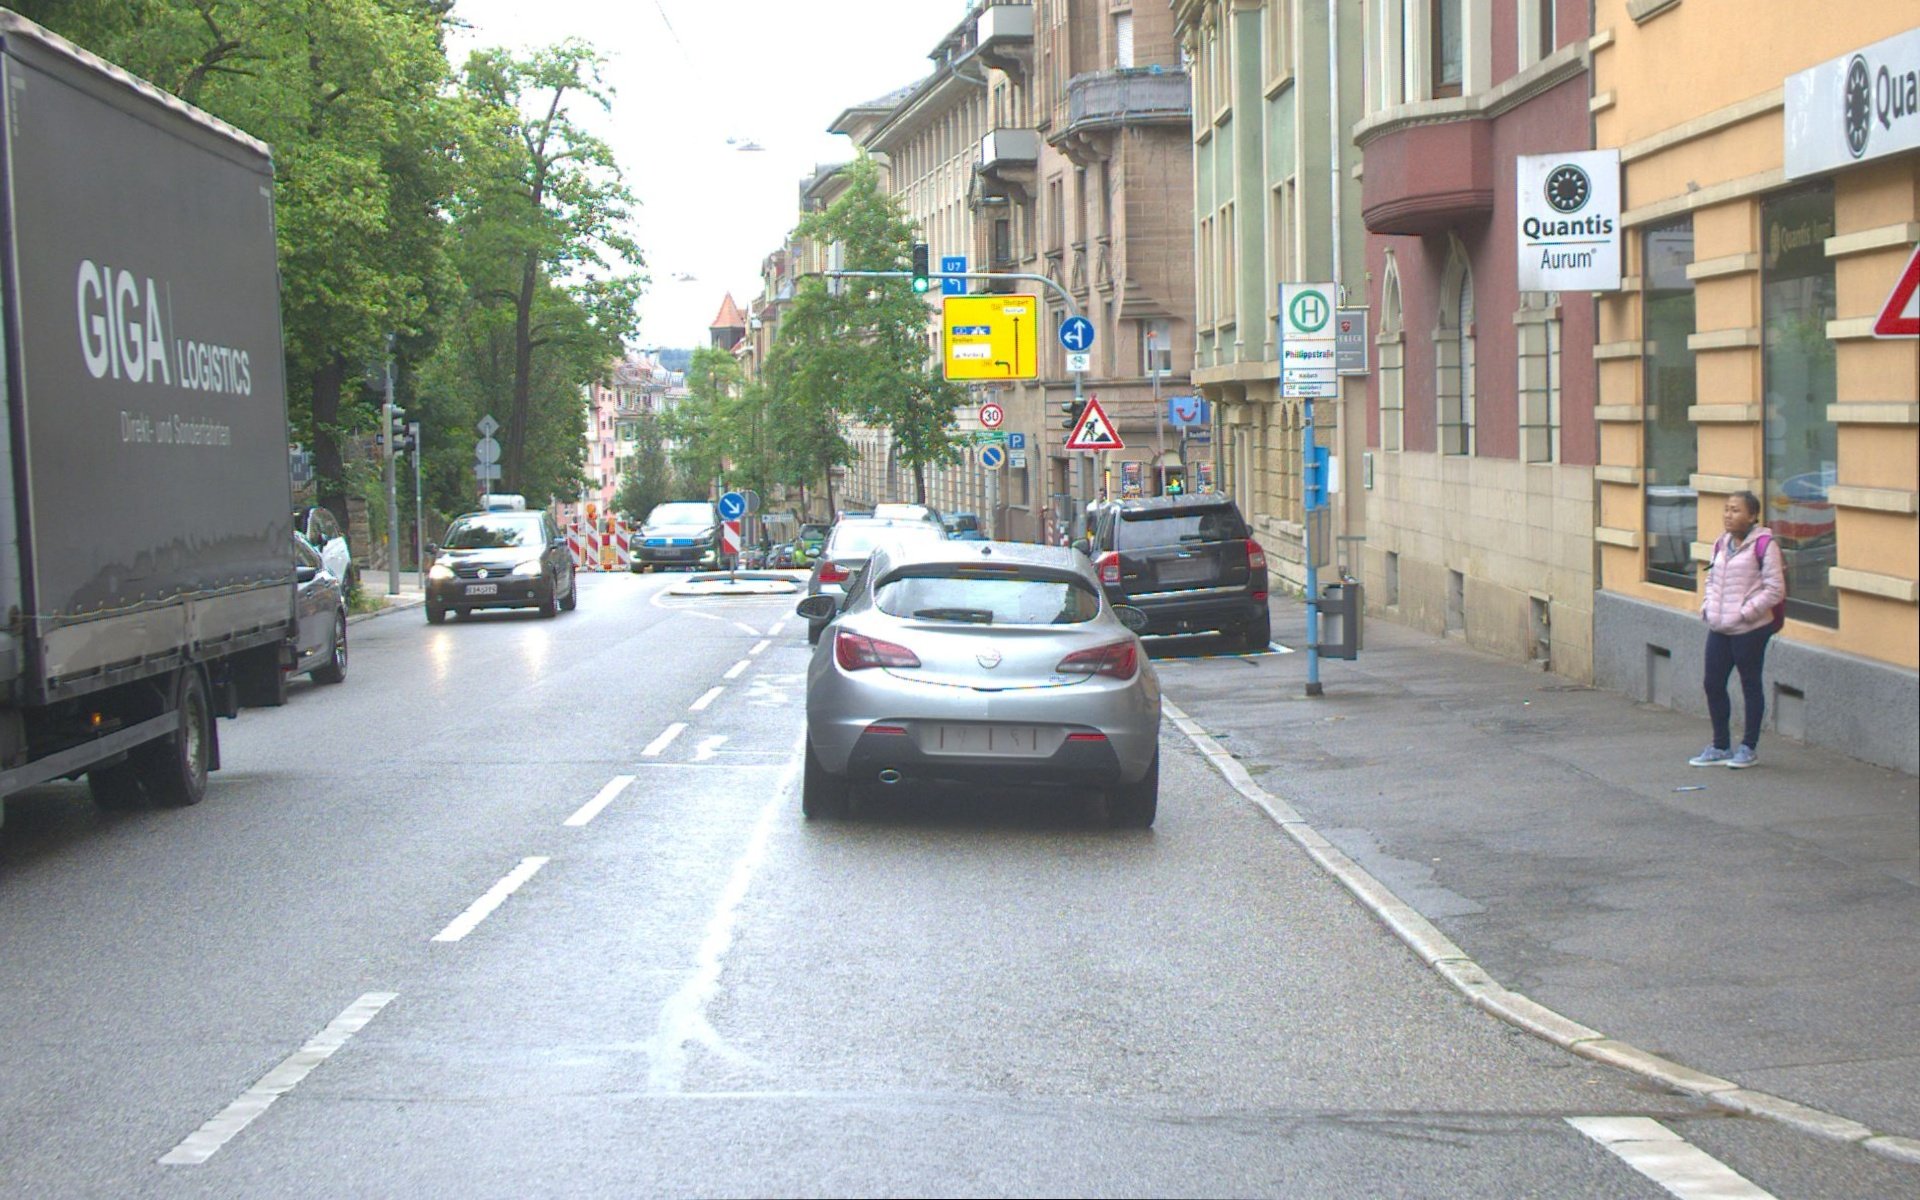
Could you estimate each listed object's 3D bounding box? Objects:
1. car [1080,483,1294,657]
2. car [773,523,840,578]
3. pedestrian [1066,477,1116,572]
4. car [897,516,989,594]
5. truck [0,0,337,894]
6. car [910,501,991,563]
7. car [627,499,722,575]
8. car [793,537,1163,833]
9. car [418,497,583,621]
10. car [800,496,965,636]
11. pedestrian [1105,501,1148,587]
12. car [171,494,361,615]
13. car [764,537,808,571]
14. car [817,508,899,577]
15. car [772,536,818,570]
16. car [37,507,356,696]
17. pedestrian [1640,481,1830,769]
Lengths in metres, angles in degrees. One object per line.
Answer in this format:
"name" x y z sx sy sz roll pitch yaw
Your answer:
"car" 2.345 -0.331 36.605 1.876 1.624 4.698 -3 1 0
"car" -4.637 -1.485 103.421 1.656 1.537 3.666 -3 1 -7
"pedestrian" 2.484 -1.433 65.084 0.718 1.768 0.665 -2 2 19
"car" -0.340 -0.898 68.686 1.772 1.499 3.869 1 1 0
"truck" -5.278 -0.768 17.086 2.648 3.841 9.308 -2 1 -1
"car" -0.283 -1.797 91.781 1.656 1.537 3.666 -3 1 -7
"car" -5.942 -1.337 71.873 1.815 1.512 4.549 1 1 -3
"car" 0.109 0.395 18.915 1.811 1.444 3.869 1 1 1
"car" -6.396 -0.616 48.235 1.772 1.512 4.592 -1 3 -1
"car" -0.843 -0.398 39.276 1.772 1.499 3.869 1 1 0
"pedestrian" 3.144 -1.060 64.875 0.597 1.579 0.665 -2 2 18
"car" -9.557 -0.631 47.661 1.741 1.554 4.302 1 1 0
"car" -7.646 -2.010 150.865 1.637 1.464 3.858 -1 1 -7
"car" -2.469 -1.356 82.579 1.656 1.537 3.666 -3 1 -6
"car" -7.005 -1.986 145.791 1.637 1.424 3.377 -1 1 -7
"car" -6.461 -0.013 29.600 1.772 1.462 4.748 -1 1 -1
"pedestrian" 4.388 0.131 19.497 0.766 1.584 0.712 -1 1 -19
